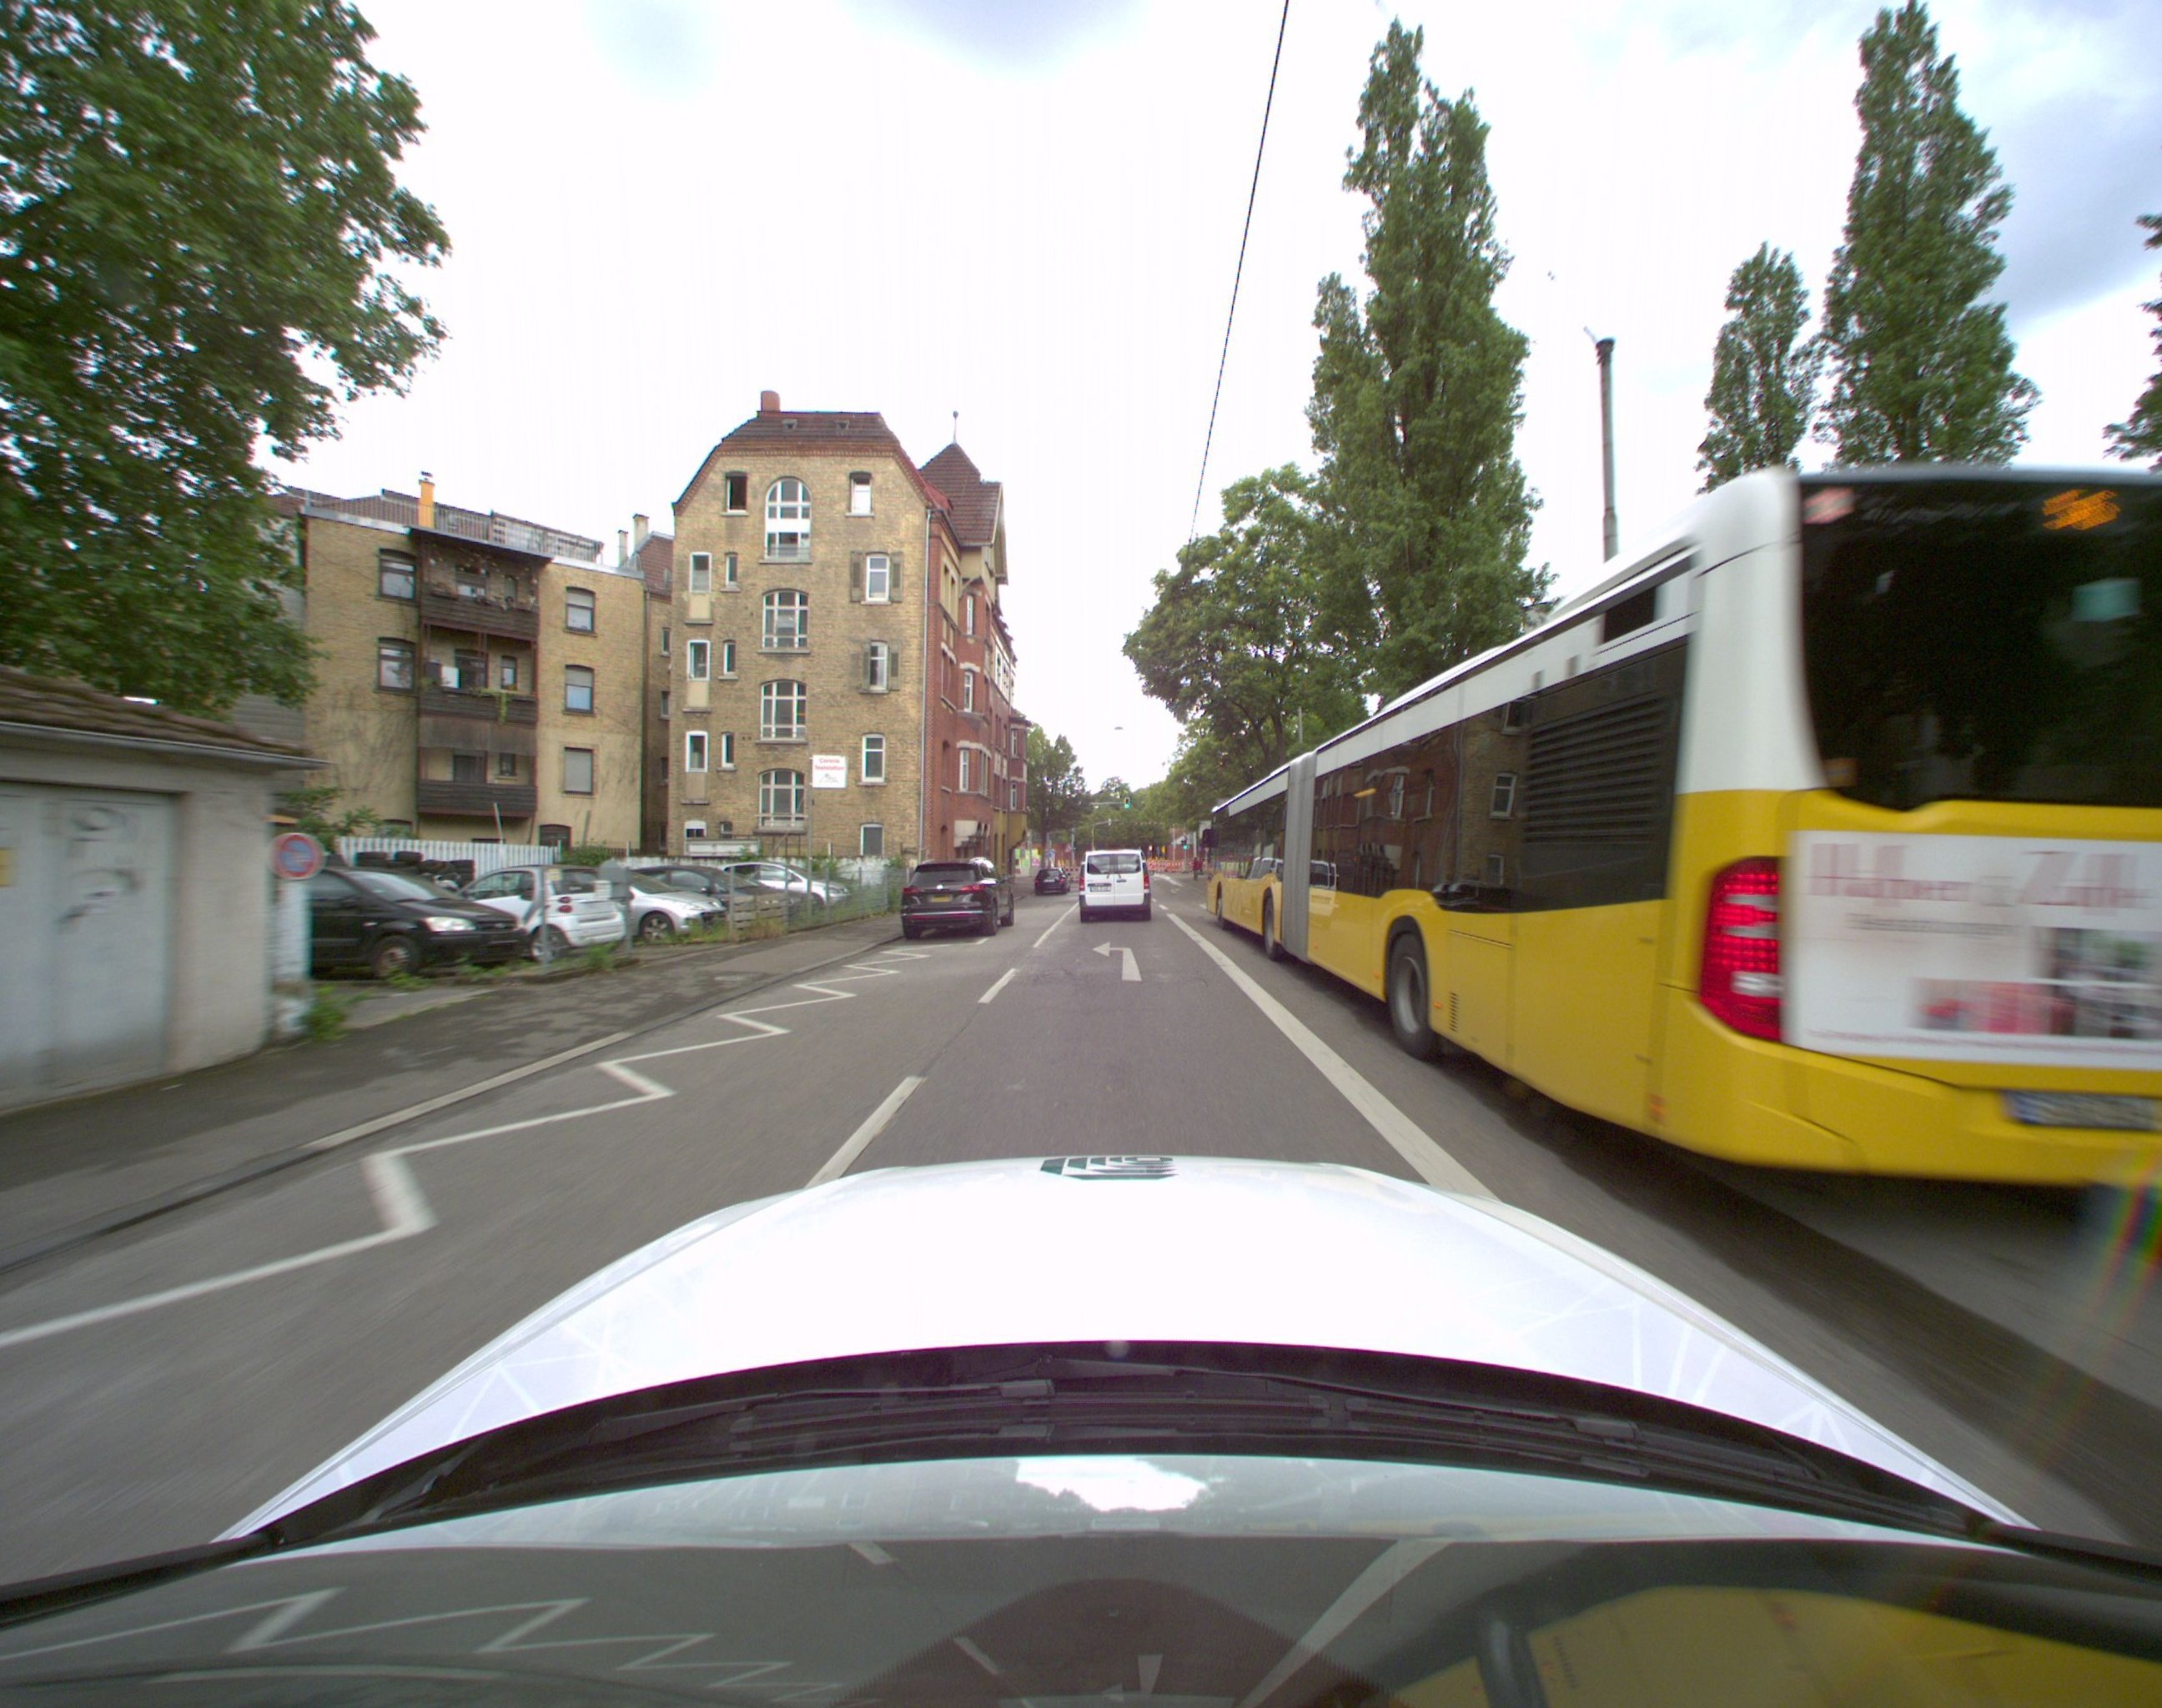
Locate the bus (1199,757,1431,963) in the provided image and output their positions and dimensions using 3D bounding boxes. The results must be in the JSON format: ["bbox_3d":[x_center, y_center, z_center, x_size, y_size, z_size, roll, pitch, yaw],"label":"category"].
[{"bbox_3d":[4.335,0.147,17.343,2.661,3.139,9.223,2,-1,3],"label":"bus"}]

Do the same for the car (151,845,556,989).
[{"bbox_3d":[-9.480,0.784,10.845,3.747,1.643,1.854,-2,-1,2],"label":"car"}]

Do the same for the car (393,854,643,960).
[{"bbox_3d":[-9.226,0.842,13.534,2.835,1.565,1.854,-2,-1,3],"label":"car"}]

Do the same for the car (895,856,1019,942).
[{"bbox_3d":[-2.691,0.928,18.868,1.946,1.734,4.776,0,0,2],"label":"car"}]

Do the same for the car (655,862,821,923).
[{"bbox_3d":[-8.790,0.973,21.051,3.581,1.415,1.548,-2,-1,2],"label":"car"}]

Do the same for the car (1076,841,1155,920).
[{"bbox_3d":[0.924,0.767,22.799,1.910,1.902,4.701,2,-3,1],"label":"car"}]

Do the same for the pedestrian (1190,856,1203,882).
[{"bbox_3d":[8.414,1.114,59.383,0.776,1.831,0.728,-3,-1,3],"label":"pedestrian"}]

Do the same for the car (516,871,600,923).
[{"bbox_3d":[-15.765,1.250,24.710,1.679,1.373,3.481,-1,0,-25],"label":"car"}]

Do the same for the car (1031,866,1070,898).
[{"bbox_3d":[-1.632,1.507,45.126,1.717,1.485,4.395,0,1,4],"label":"car"}]

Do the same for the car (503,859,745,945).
[{"bbox_3d":[-8.950,0.909,16.167,3.708,1.504,1.854,-2,-1,2],"label":"car"}]

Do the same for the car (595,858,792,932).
[{"bbox_3d":[-8.824,0.913,18.750,3.581,1.504,1.854,-2,-1,2],"label":"car"}]

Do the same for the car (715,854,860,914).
[{"bbox_3d":[-8.565,0.859,23.921,3.581,1.612,1.689,-2,-1,2],"label":"car"}]

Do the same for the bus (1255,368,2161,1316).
[{"bbox_3d":[3.841,0.015,7.723,2.652,3.136,10.046,2,-1,3],"label":"bus"}]
